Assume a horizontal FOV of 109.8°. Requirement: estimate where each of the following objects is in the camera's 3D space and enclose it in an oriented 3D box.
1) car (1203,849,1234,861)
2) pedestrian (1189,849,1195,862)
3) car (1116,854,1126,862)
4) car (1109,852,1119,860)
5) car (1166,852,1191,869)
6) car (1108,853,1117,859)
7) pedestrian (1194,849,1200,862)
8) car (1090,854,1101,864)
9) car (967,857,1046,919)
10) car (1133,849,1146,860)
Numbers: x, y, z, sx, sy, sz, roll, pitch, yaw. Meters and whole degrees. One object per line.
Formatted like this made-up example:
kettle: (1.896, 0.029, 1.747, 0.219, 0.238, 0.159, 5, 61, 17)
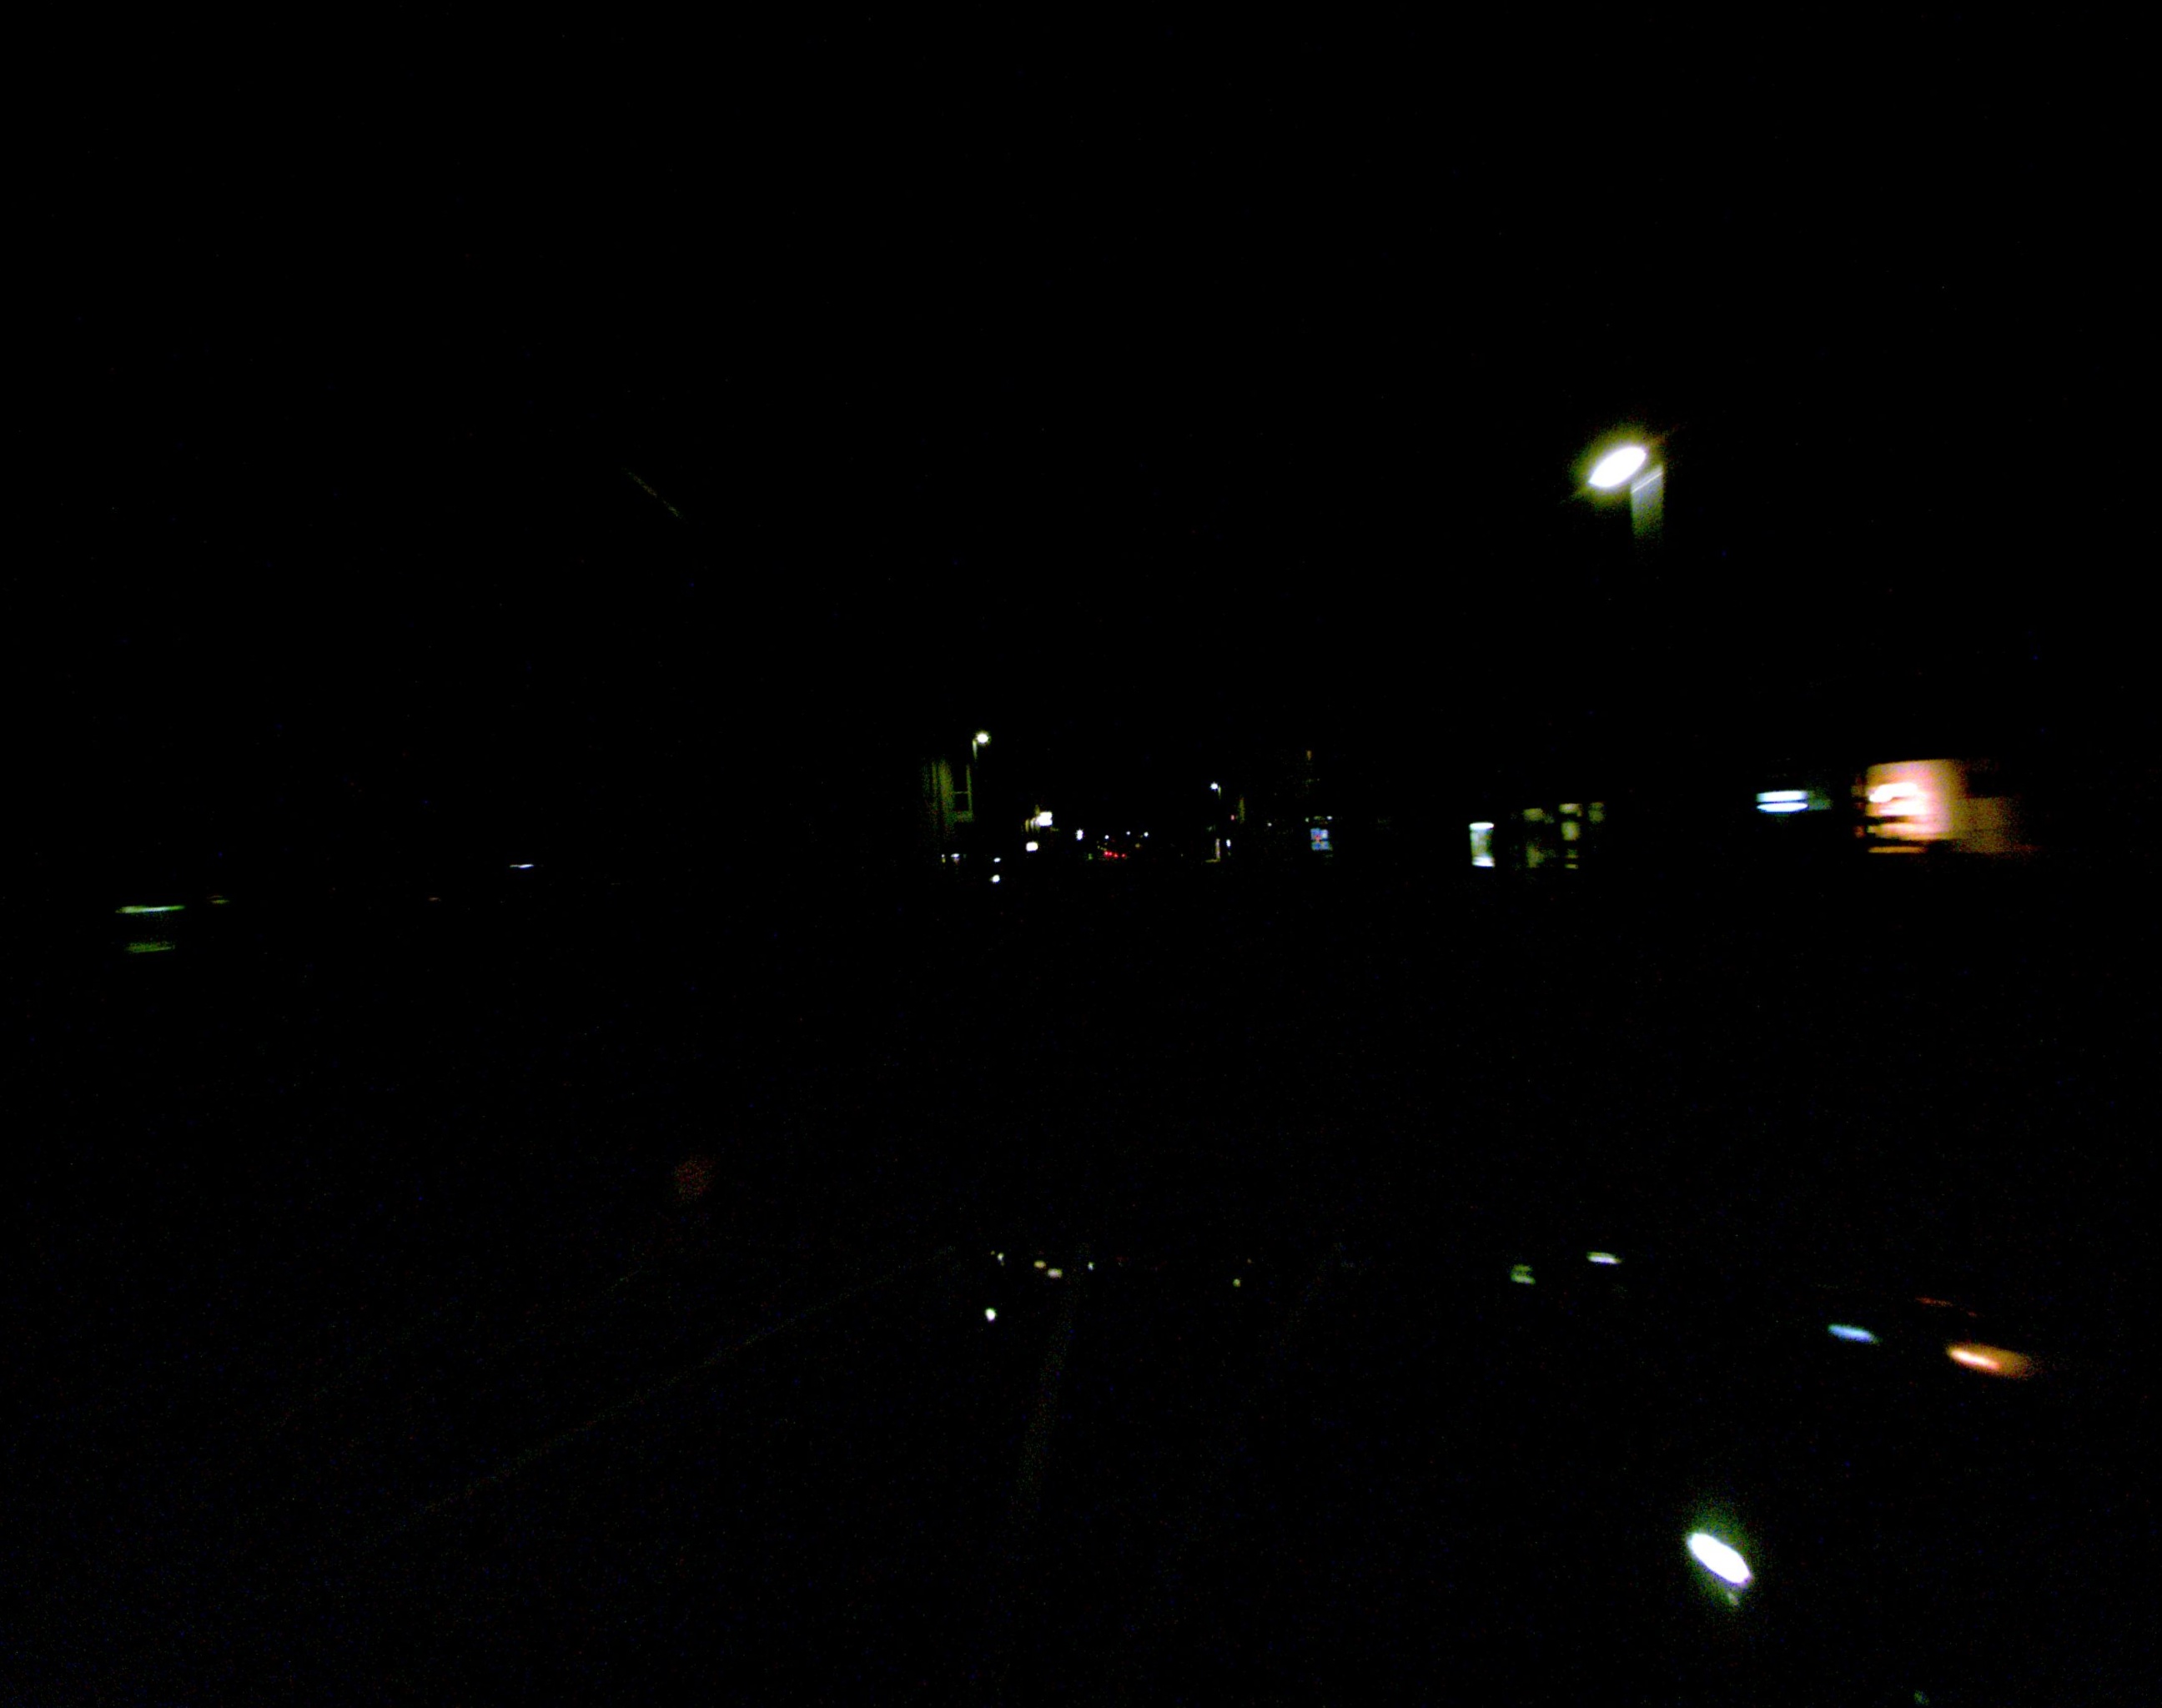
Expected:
car: (17.904, 0.093, 99.210, 3.832, 1.408, 1.653, -1, 0, 4)
pedestrian: (13.859, 0.168, 94.920, 0.529, 1.579, 0.665, -3, 1, -5)
car: (7.354, 0.682, 139.281, 1.721, 1.420, 3.816, -2, 0, 3)
car: (6.908, 0.490, 158.363, 1.752, 1.635, 4.307, -2, 0, -1)
car: (9.541, 0.609, 74.667, 1.901, 1.411, 4.931, -4, 0, 2)
car: (7.286, 0.455, 176.048, 1.822, 1.271, 3.917, -2, 0, 2)
pedestrian: (14.453, 0.233, 94.885, 0.529, 1.579, 0.665, -3, 1, -7)
car: (2.354, 0.762, 122.805, 1.606, 1.474, 3.699, -2, 0, 0)
car: (-2.042, 0.896, 21.996, 1.747, 1.560, 4.208, -2, 0, 1)
car: (9.893, 0.113, 129.013, 1.814, 1.637, 3.804, -4, 0, 2)
